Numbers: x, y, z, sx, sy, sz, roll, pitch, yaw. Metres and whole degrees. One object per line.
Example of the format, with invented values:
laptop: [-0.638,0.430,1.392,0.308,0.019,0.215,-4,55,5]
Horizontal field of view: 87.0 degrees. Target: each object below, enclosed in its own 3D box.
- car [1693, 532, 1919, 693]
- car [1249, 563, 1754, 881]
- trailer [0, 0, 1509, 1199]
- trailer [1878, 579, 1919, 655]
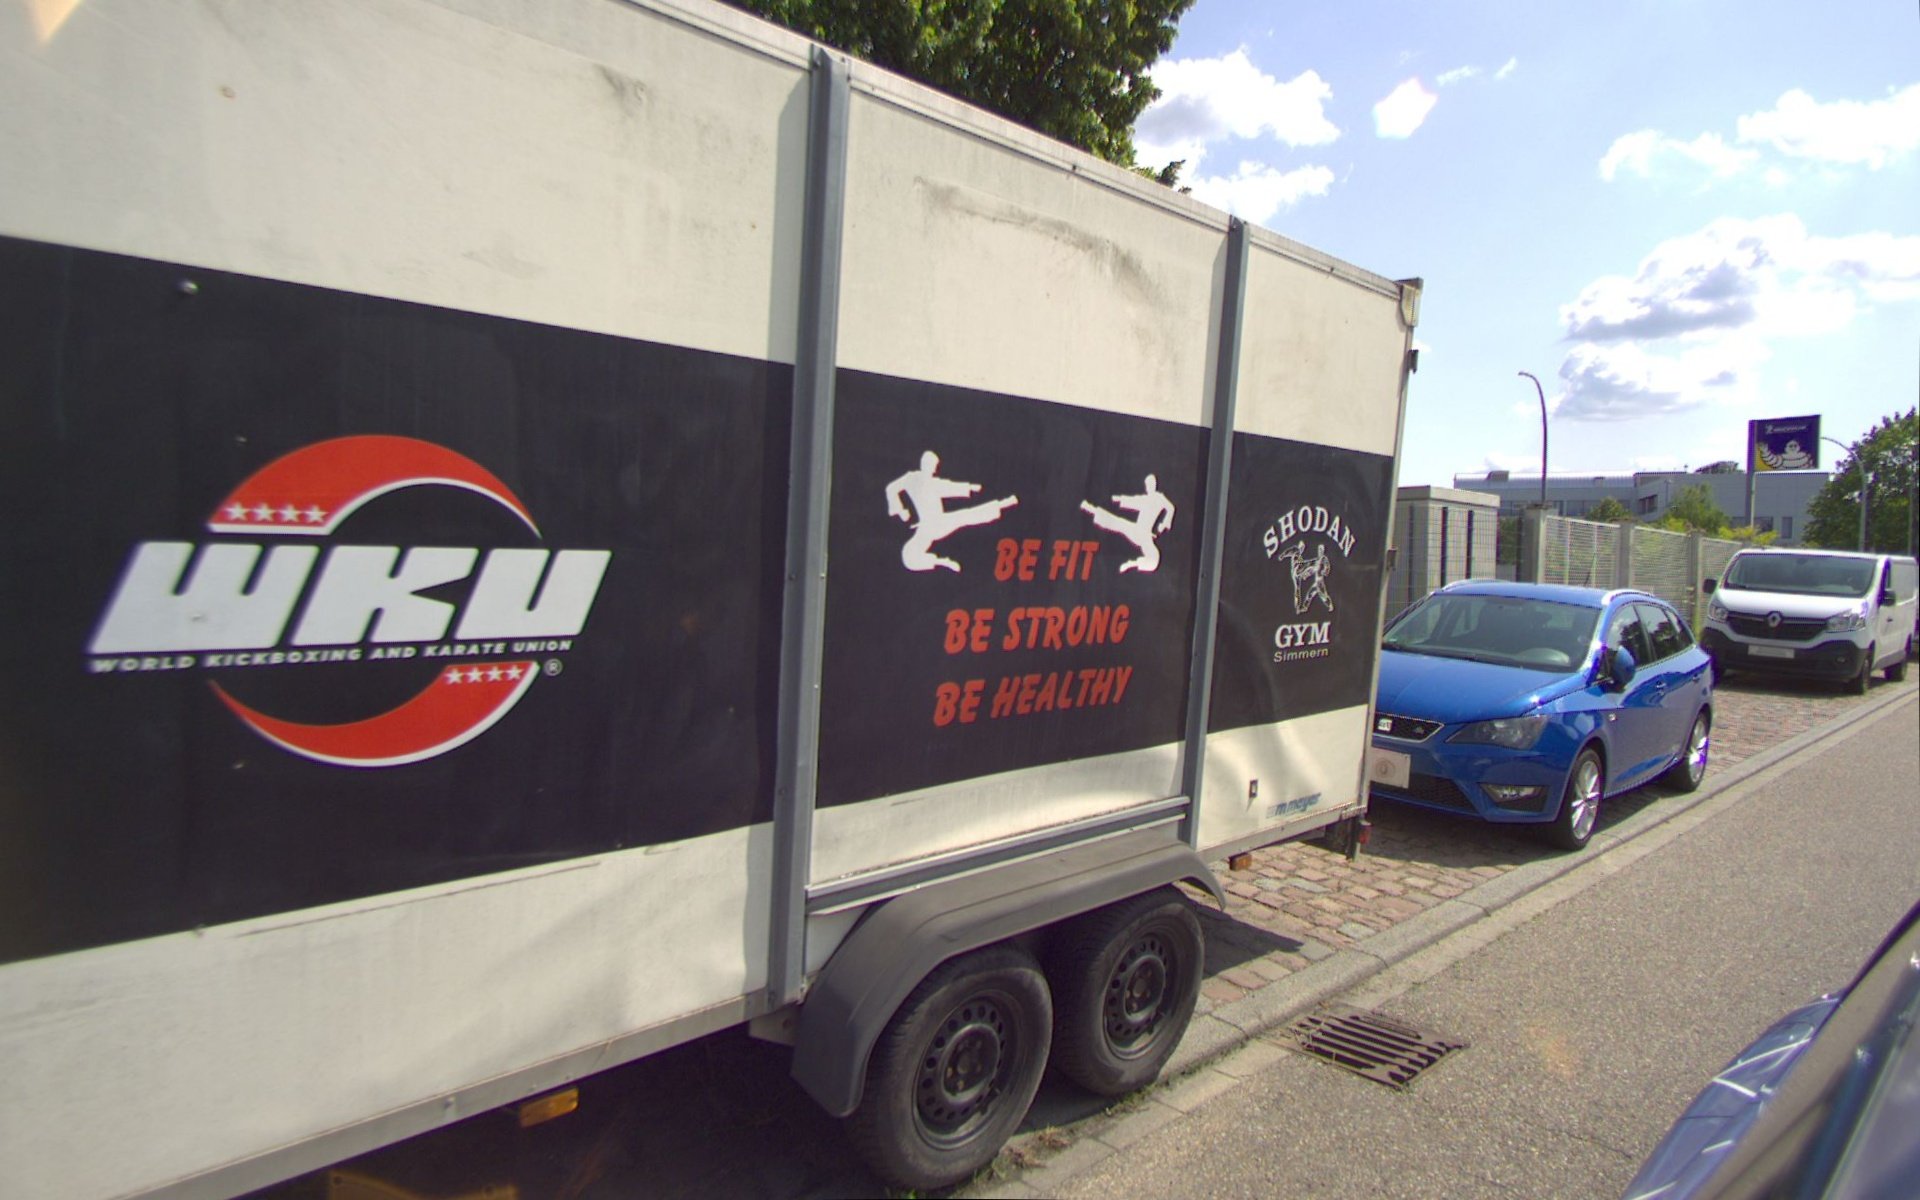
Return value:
car: [13.169,0.086,15.377,5.550,2.038,1.998,-1,3,-41]
car: [3.869,0.549,6.930,4.000,1.478,1.694,-1,5,-42]
trailer: [-0.926,-0.038,2.885,6.114,2.769,2.210,-1,6,-41]
trailer: [20.913,0.357,21.567,1.751,1.434,4.477,7,6,44]
